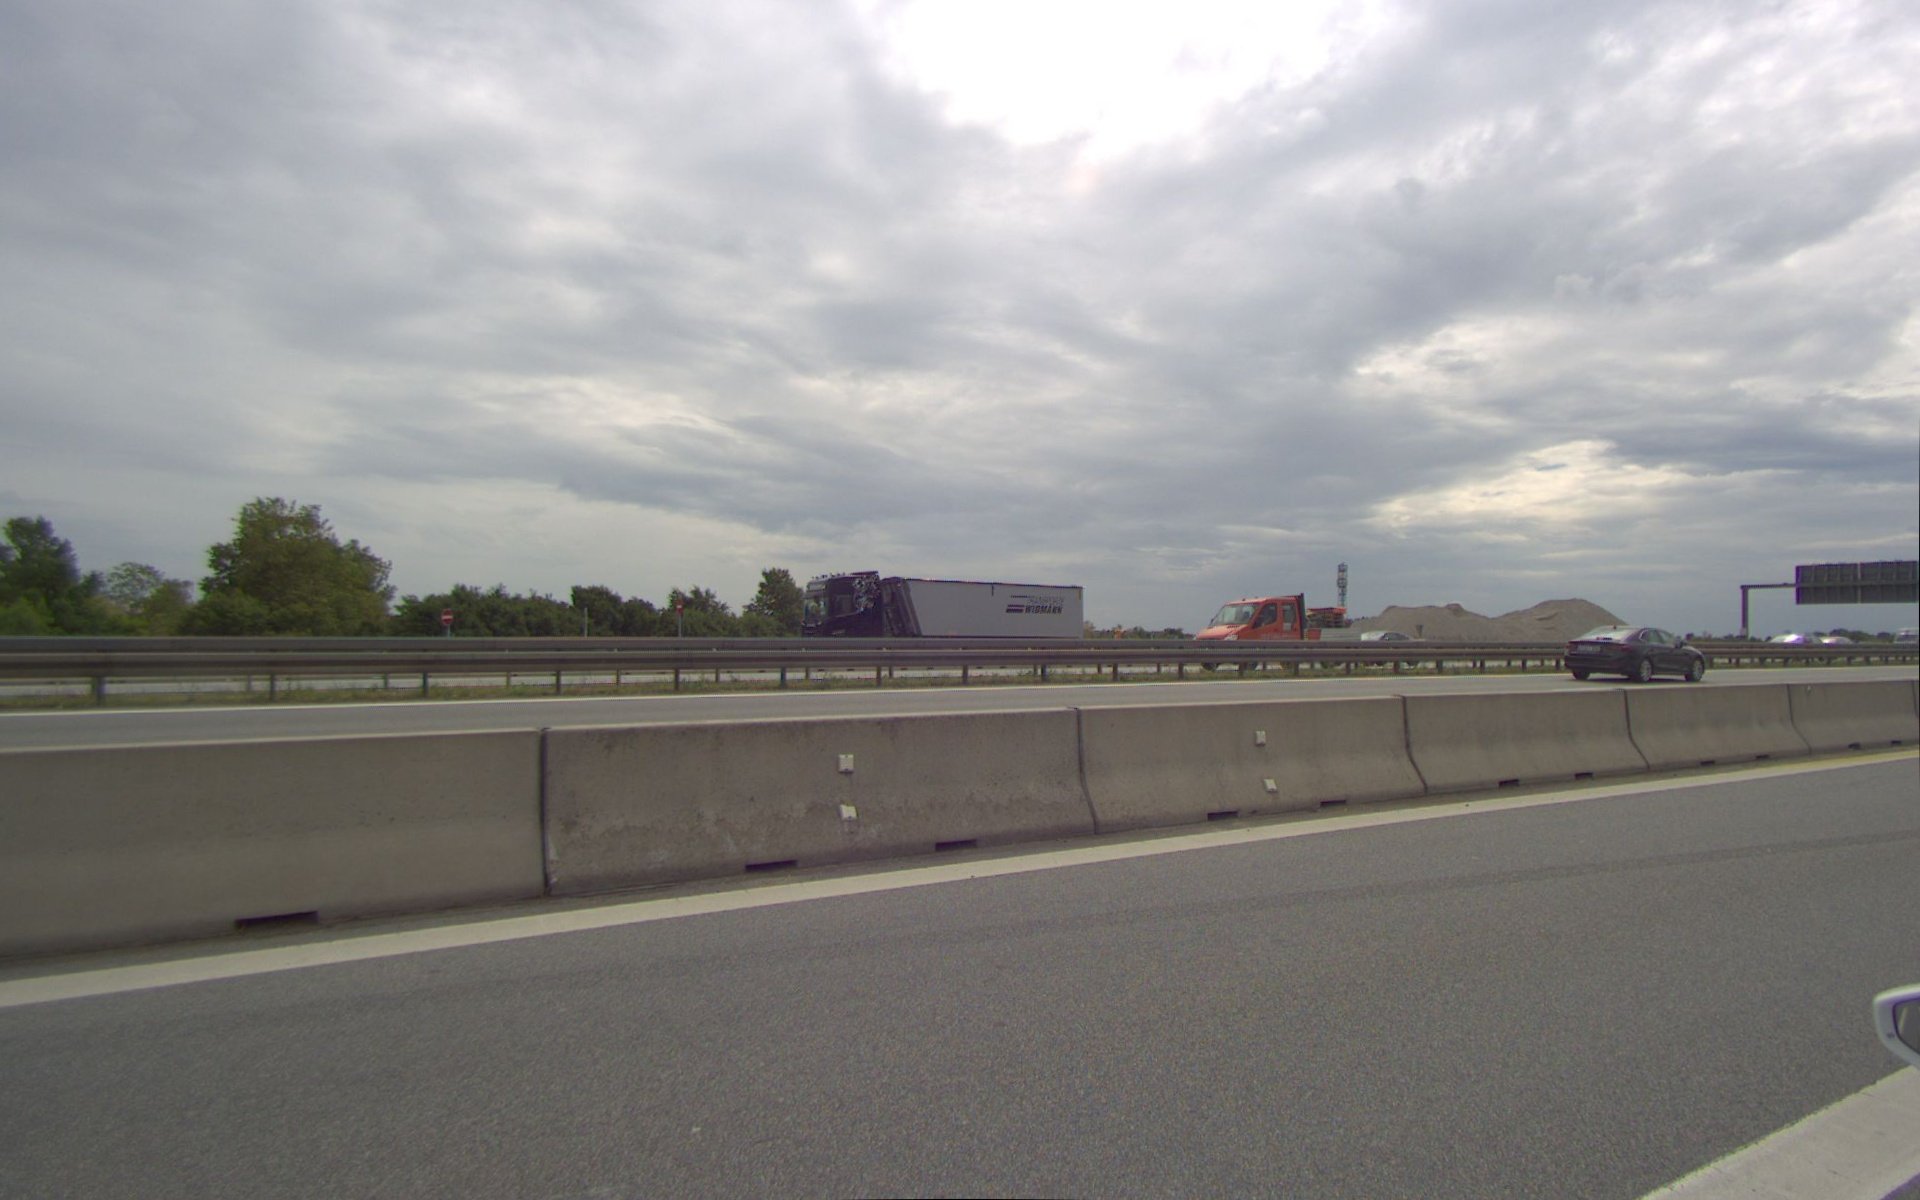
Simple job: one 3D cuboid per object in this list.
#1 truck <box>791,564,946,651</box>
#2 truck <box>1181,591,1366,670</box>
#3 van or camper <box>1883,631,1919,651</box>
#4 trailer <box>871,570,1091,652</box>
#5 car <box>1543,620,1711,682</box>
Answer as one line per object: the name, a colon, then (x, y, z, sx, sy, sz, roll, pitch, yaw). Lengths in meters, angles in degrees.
truck: (-3.757, 0.346, 41.439, 5.563, 3.374, 3.131, 1, -1, -33)
truck: (10.326, 0.996, 32.936, 6.127, 2.401, 2.266, 1, -1, -30)
van or camper: (101.482, 4.422, 107.620, 6.209, 2.040, 2.223, 1, -1, -32)
trailer: (1.094, 0.540, 44.669, 9.720, 3.313, 3.178, 1, -1, -34)
car: (18.215, 1.360, 27.399, 4.514, 1.547, 2.049, 1, -1, -30)
